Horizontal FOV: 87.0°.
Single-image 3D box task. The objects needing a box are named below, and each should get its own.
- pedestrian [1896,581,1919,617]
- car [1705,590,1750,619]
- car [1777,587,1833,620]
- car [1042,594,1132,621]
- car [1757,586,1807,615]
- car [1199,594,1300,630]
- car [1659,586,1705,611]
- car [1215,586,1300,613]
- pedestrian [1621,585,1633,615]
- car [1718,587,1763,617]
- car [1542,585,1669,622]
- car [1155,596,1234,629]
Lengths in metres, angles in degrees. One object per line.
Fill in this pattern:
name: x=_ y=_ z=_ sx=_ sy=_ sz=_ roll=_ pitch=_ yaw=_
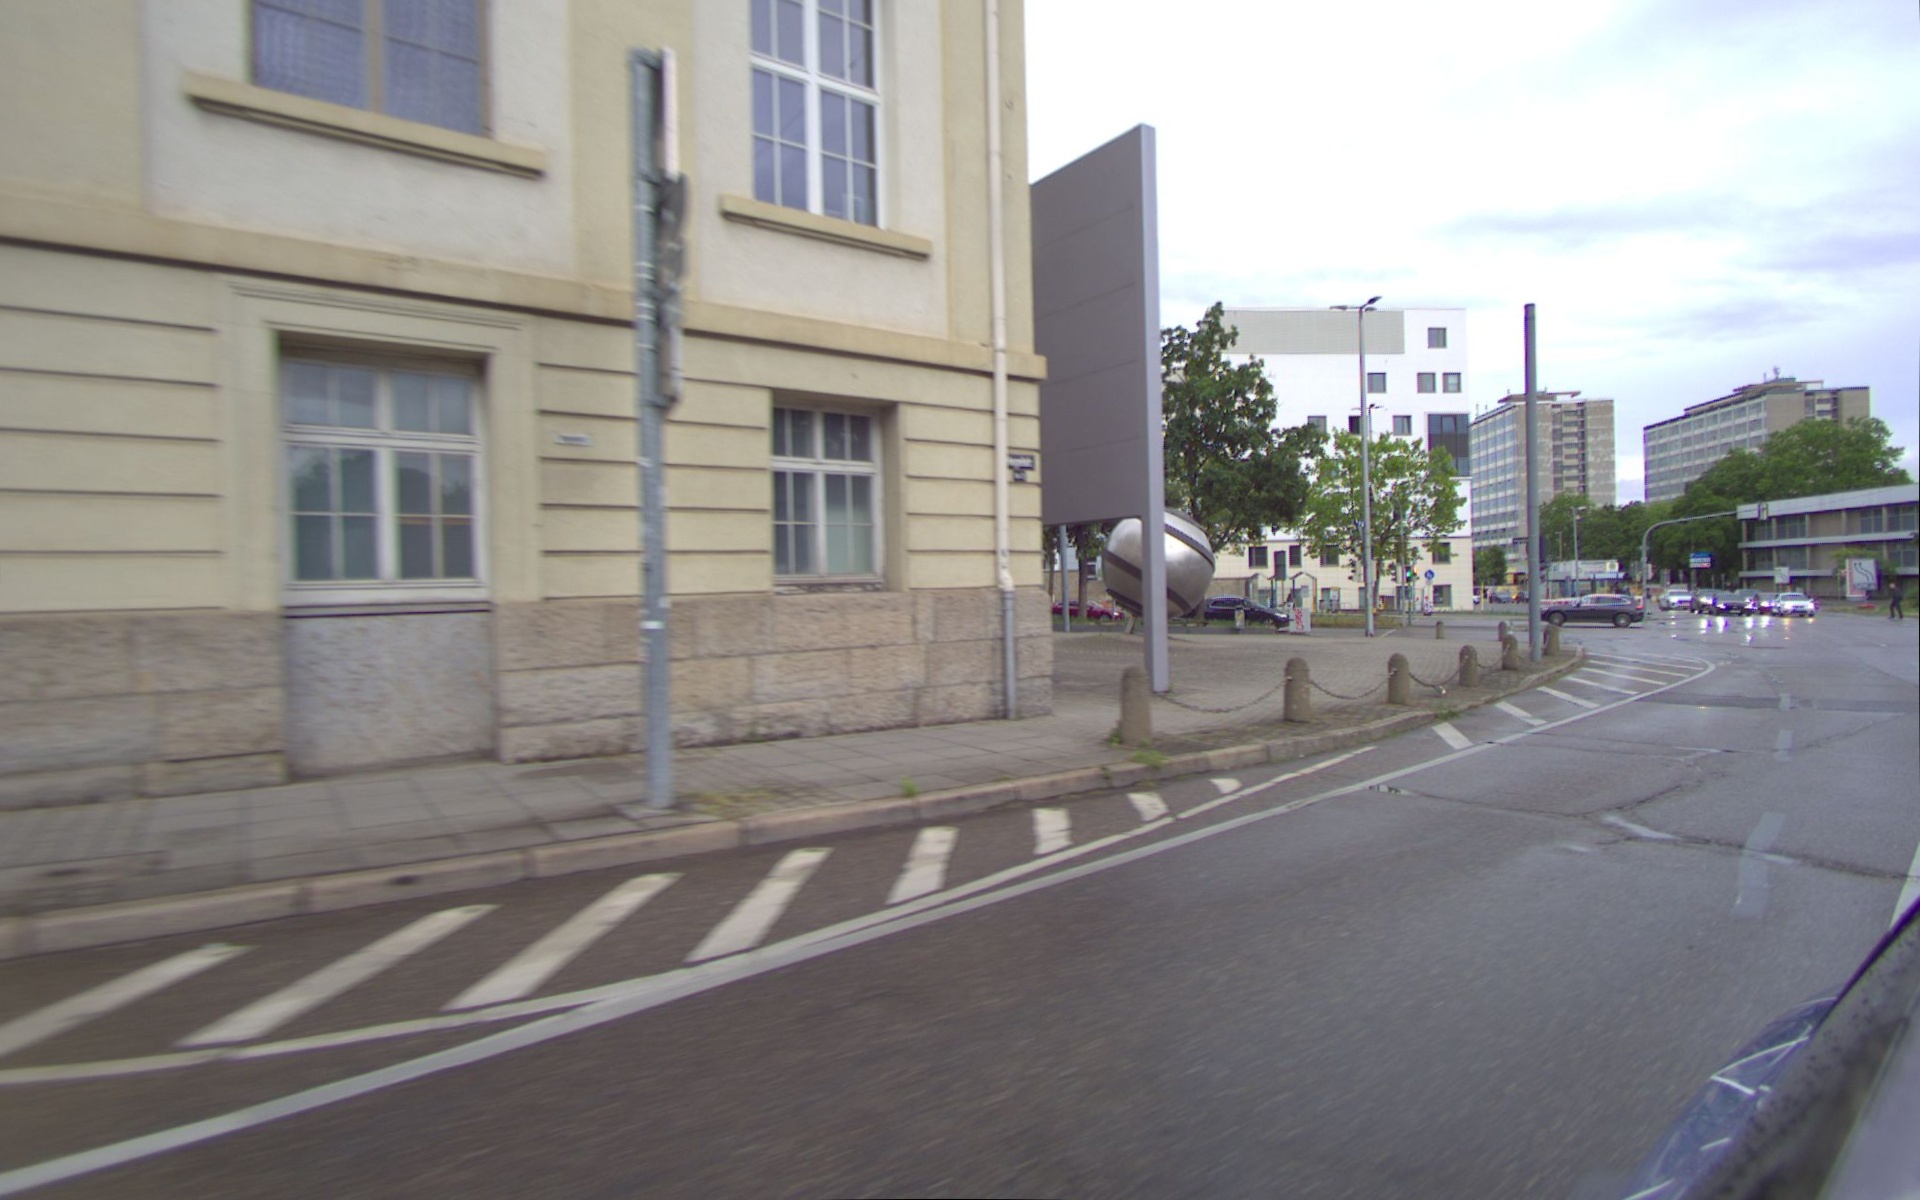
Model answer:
pedestrian: x=49.773 y=-0.044 z=53.085 sx=0.532 sy=1.819 sz=0.902 roll=0 pitch=-2 yaw=-41
car: x=53.121 y=0.269 z=70.107 sx=2.062 sy=1.935 sz=4.510 roll=0 pitch=0 yaw=32
car: x=51.904 y=0.180 z=62.257 sx=2.062 sy=1.935 sz=4.510 roll=0 pitch=0 yaw=32
car: x=6.917 y=0.395 z=55.135 sx=4.556 sy=1.384 sz=1.768 roll=1 pitch=0 yaw=21
car: x=54.873 y=0.040 z=67.634 sx=2.062 sy=1.850 sz=4.510 roll=0 pitch=0 yaw=32
car: x=13.949 y=0.568 z=48.733 sx=4.441 sy=1.618 sz=1.970 roll=1 pitch=0 yaw=24
car: x=57.896 y=-0.103 z=81.265 sx=2.054 sy=1.935 sz=4.527 roll=0 pitch=0 yaw=23
car: x=17.641 y=-0.032 z=60.094 sx=4.775 sy=1.552 sz=2.084 roll=0 pitch=0 yaw=18
pedestrian: x=45.582 y=-0.006 z=69.185 sx=0.638 sy=2.039 sz=0.588 roll=-1 pitch=-1 yaw=30
car: x=49.654 y=0.113 z=64.460 sx=1.870 sy=1.892 sz=4.297 roll=0 pitch=0 yaw=32
car: x=32.757 y=0.164 z=51.543 sx=5.241 sy=1.824 sz=2.029 roll=0 pitch=0 yaw=27
car: x=12.178 y=0.620 z=52.549 sx=3.700 sy=1.602 sz=1.745 roll=1 pitch=0 yaw=25
